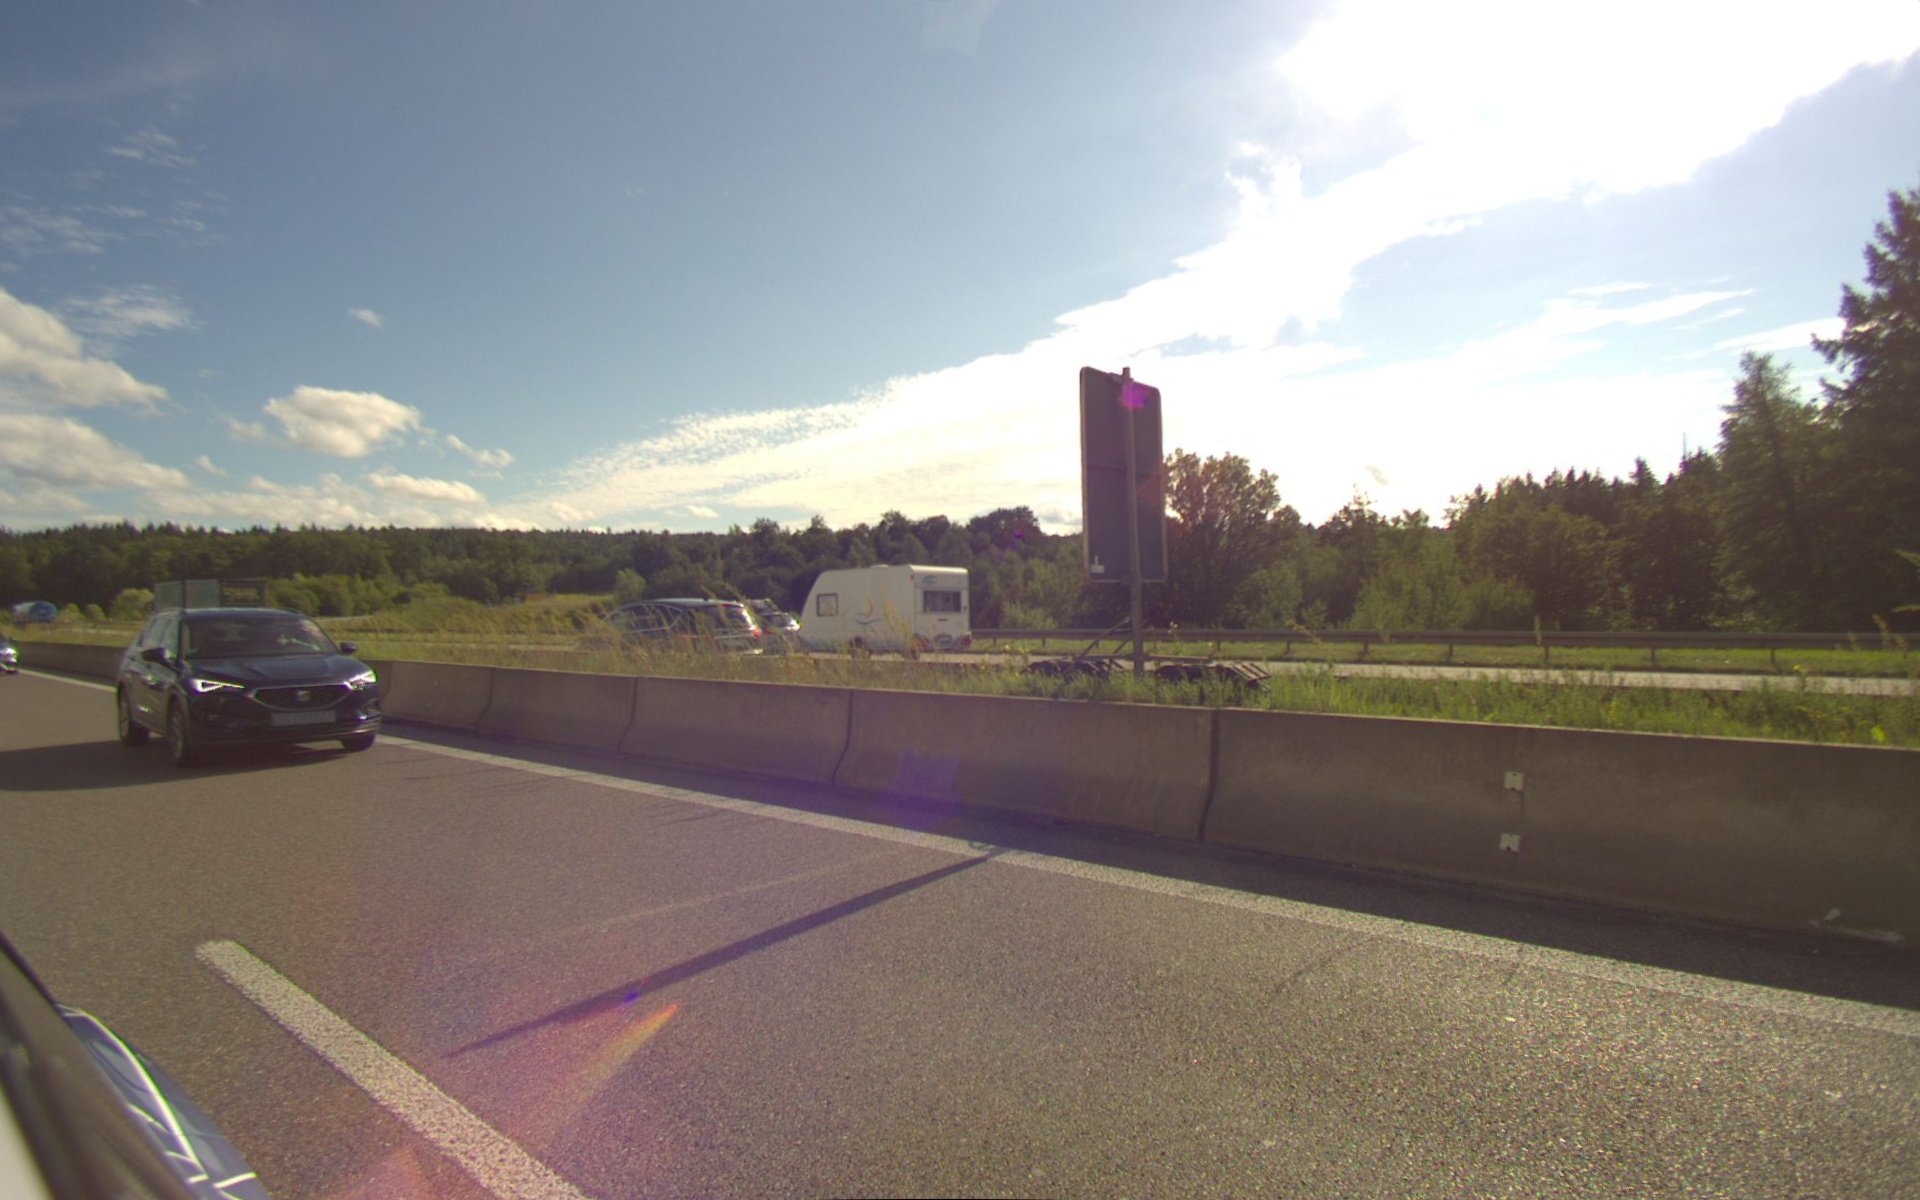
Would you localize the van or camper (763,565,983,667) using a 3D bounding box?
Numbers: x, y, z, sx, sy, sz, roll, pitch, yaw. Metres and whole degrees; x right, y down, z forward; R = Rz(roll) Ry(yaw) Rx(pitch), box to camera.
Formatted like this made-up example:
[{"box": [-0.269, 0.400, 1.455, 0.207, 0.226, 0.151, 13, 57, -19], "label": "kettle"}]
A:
[{"box": [-2.422, 0.420, 26.940, 5.848, 2.432, 2.434, -1, 0, 40], "label": "van or camper"}]

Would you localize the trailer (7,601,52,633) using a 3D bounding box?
[{"box": [-106.795, 1.962, 116.063, 10.867, 3.308, 2.298, -1, 2, 40], "label": "trailer"}]

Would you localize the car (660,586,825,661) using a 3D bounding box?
[{"box": [-6.637, 0.669, 30.525, 5.078, 2.073, 2.217, -1, 0, 40], "label": "car"}]

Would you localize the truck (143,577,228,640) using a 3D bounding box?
[{"box": [-55.743, 0.636, 72.695, 10.336, 4.276, 2.684, -1, -1, 40], "label": "truck"}]

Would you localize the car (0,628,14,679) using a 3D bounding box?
[{"box": [-29.883, 1.591, 30.410, 4.156, 1.471, 1.756, -1, -1, 41], "label": "car"}]

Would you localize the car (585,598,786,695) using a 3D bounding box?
[{"box": [-5.157, 0.812, 18.786, 3.807, 1.617, 1.809, -2, -1, 41], "label": "car"}]

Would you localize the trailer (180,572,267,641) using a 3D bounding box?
[{"box": [-48.521, 0.473, 66.569, 8.545, 4.276, 2.698, -1, -1, 40], "label": "trailer"}]

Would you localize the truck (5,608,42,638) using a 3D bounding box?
[{"box": [-110.031, 2.656, 118.855, 6.100, 3.298, 2.295, -1, 2, 40], "label": "truck"}]

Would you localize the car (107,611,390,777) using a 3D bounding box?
[{"box": [-8.289, 0.929, 11.645, 4.156, 1.554, 1.756, -1, -1, 41], "label": "car"}]
